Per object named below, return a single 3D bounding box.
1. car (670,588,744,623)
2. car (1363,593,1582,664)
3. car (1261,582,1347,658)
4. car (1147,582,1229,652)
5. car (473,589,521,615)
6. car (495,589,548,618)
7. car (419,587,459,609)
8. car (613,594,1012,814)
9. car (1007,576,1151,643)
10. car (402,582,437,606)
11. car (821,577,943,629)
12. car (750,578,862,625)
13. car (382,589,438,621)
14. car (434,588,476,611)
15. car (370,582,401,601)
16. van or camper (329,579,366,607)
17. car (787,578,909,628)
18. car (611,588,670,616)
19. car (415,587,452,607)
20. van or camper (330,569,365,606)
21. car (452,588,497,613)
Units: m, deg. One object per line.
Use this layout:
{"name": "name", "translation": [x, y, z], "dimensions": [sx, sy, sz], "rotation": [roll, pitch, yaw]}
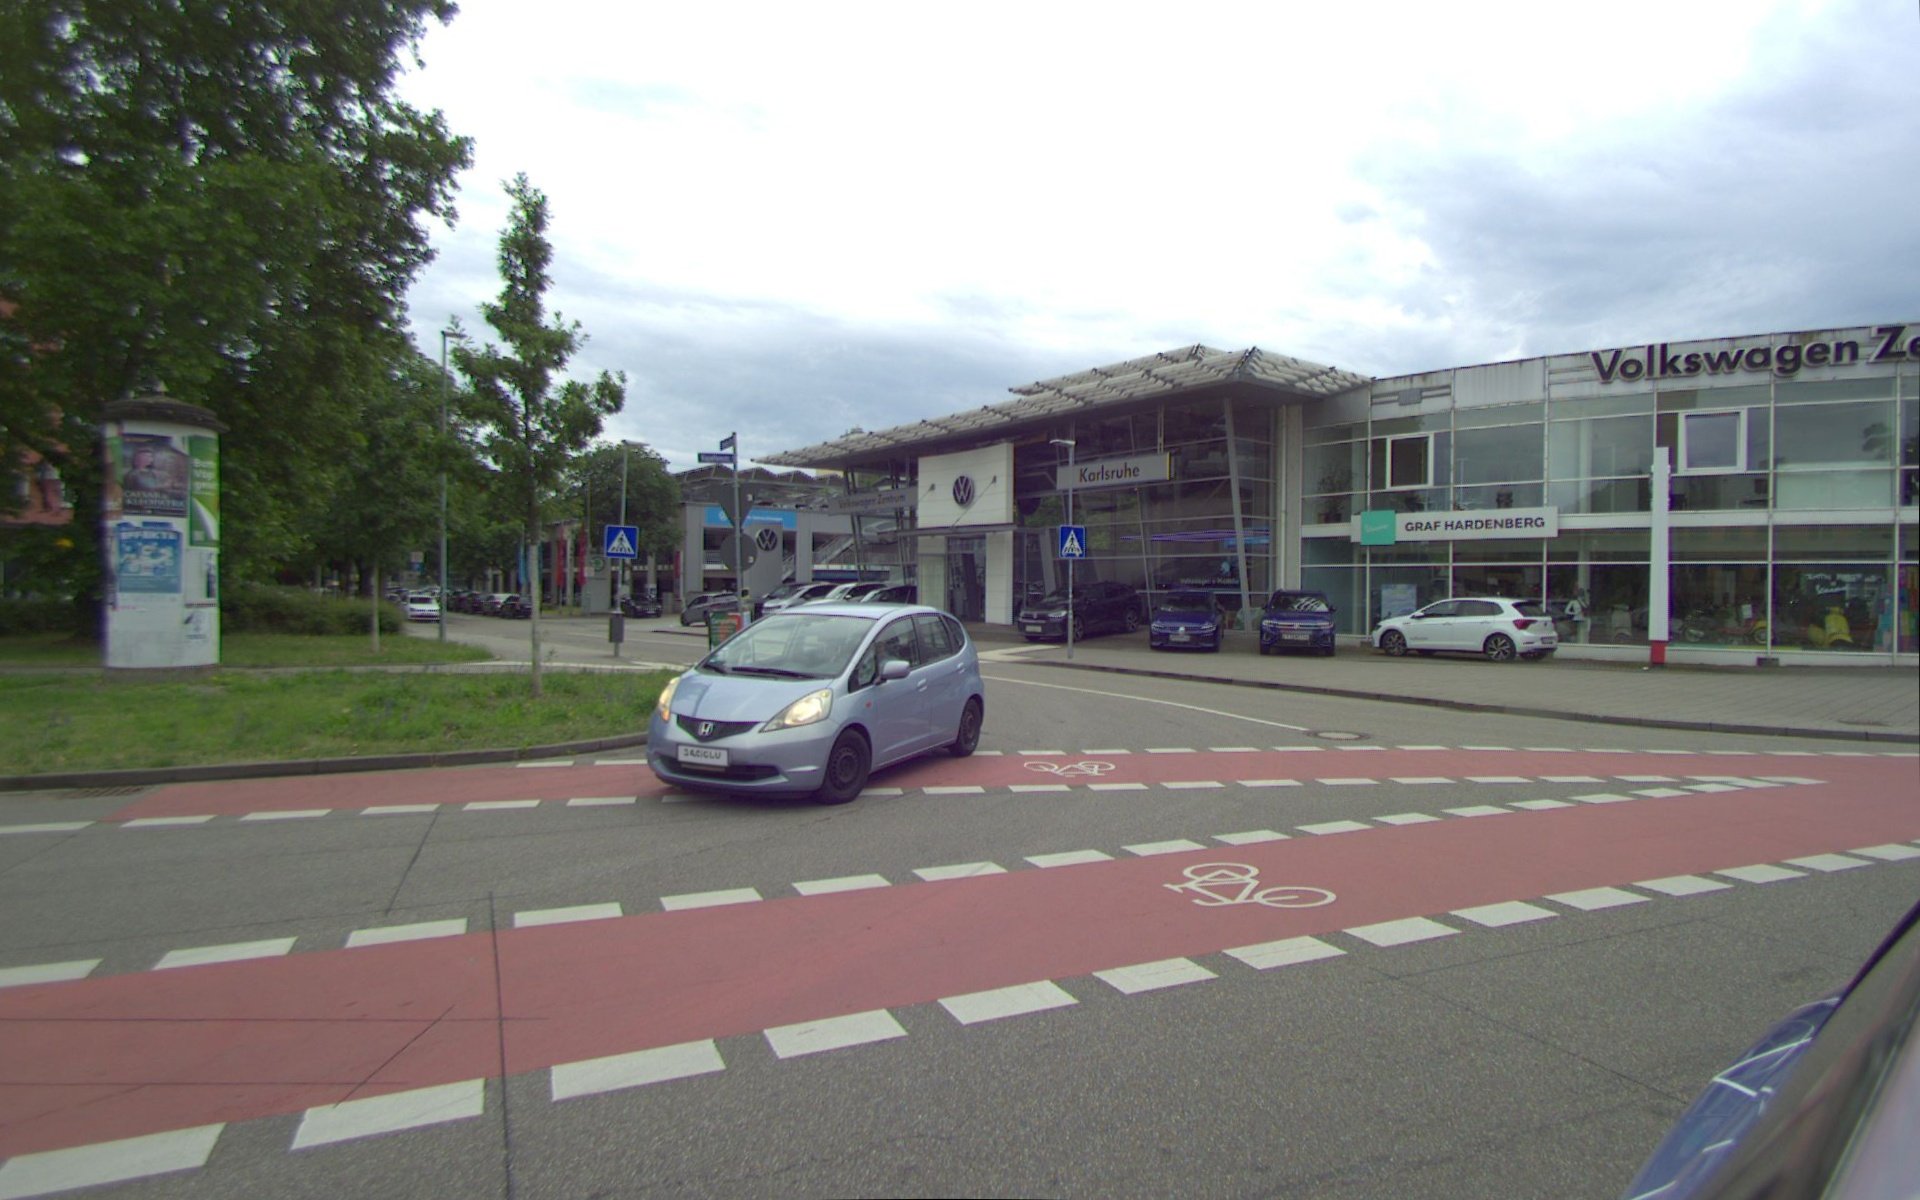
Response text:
{"name": "car", "translation": [-12.229, 0.229, 48.746], "dimensions": [1.886, 1.583, 4.009], "rotation": [-1, 1, -40]}
{"name": "car", "translation": [11.894, 0.596, 23.756], "dimensions": [1.749, 1.471, 4.263], "rotation": [1, 0, -35]}
{"name": "car", "translation": [8.628, 0.414, 25.468], "dimensions": [1.877, 1.581, 4.197], "rotation": [1, 3, 19]}
{"name": "car", "translation": [6.137, 0.368, 26.908], "dimensions": [1.833, 1.522, 4.318], "rotation": [0, 3, 17]}
{"name": "car", "translation": [-31.085, 0.095, 67.907], "dimensions": [1.828, 1.644, 4.470], "rotation": [-1, 2, -40]}
{"name": "car", "translation": [-27.477, 0.192, 63.316], "dimensions": [1.828, 1.644, 4.470], "rotation": [-1, 2, -40]}
{"name": "car", "translation": [-40.879, -0.201, 79.407], "dimensions": [1.828, 1.644, 4.470], "rotation": [-1, 2, -40]}
{"name": "car", "translation": [-1.039, 0.699, 9.167], "dimensions": [1.735, 1.485, 4.066], "rotation": [1, 1, 23]}
{"name": "car", "translation": [3.635, 0.220, 30.298], "dimensions": [4.437, 1.652, 1.856], "rotation": [-5, 3, -44]}
{"name": "car", "translation": [-48.011, -0.561, 89.826], "dimensions": [1.828, 2.010, 4.470], "rotation": [-1, 2, -40]}
{"name": "car", "translation": [-2.990, 0.085, 39.315], "dimensions": [4.397, 1.717, 1.896], "rotation": [-5, 3, -39]}
{"name": "car", "translation": [-6.640, 0.033, 43.779], "dimensions": [4.396, 1.720, 1.868], "rotation": [-4, 3, -38]}
{"name": "car", "translation": [-29.197, 0.250, 53.677], "dimensions": [1.827, 1.567, 4.472], "rotation": [2, 0, -38]}
{"name": "car", "translation": [-37.759, -0.060, 75.563], "dimensions": [1.828, 1.644, 4.470], "rotation": [-1, 2, -40]}
{"name": "car", "translation": [-60.369, -0.918, 106.344], "dimensions": [1.988, 2.010, 4.777], "rotation": [-1, 2, -40]}
{"name": "van or camper", "translation": [-45.579, -0.513, 75.236], "dimensions": [1.963, 2.039, 3.998], "rotation": [0, 1, -37]}
{"name": "car", "translation": [-4.554, 0.075, 41.552], "dimensions": [4.691, 1.720, 1.859], "rotation": [-5, 3, -38]}
{"name": "car", "translation": [-19.517, 0.080, 61.670], "dimensions": [1.865, 1.567, 4.470], "rotation": [-1, 2, -40]}
{"name": "car", "translation": [-44.390, -0.279, 85.223], "dimensions": [1.828, 1.644, 4.470], "rotation": [-1, 2, -40]}
{"name": "van or camper", "translation": [-48.374, -0.968, 79.956], "dimensions": [1.963, 2.807, 3.998], "rotation": [0, 0, -37]}
{"name": "car", "translation": [-34.498, 0.015, 71.883], "dimensions": [1.828, 1.644, 4.470], "rotation": [-1, 2, -40]}
